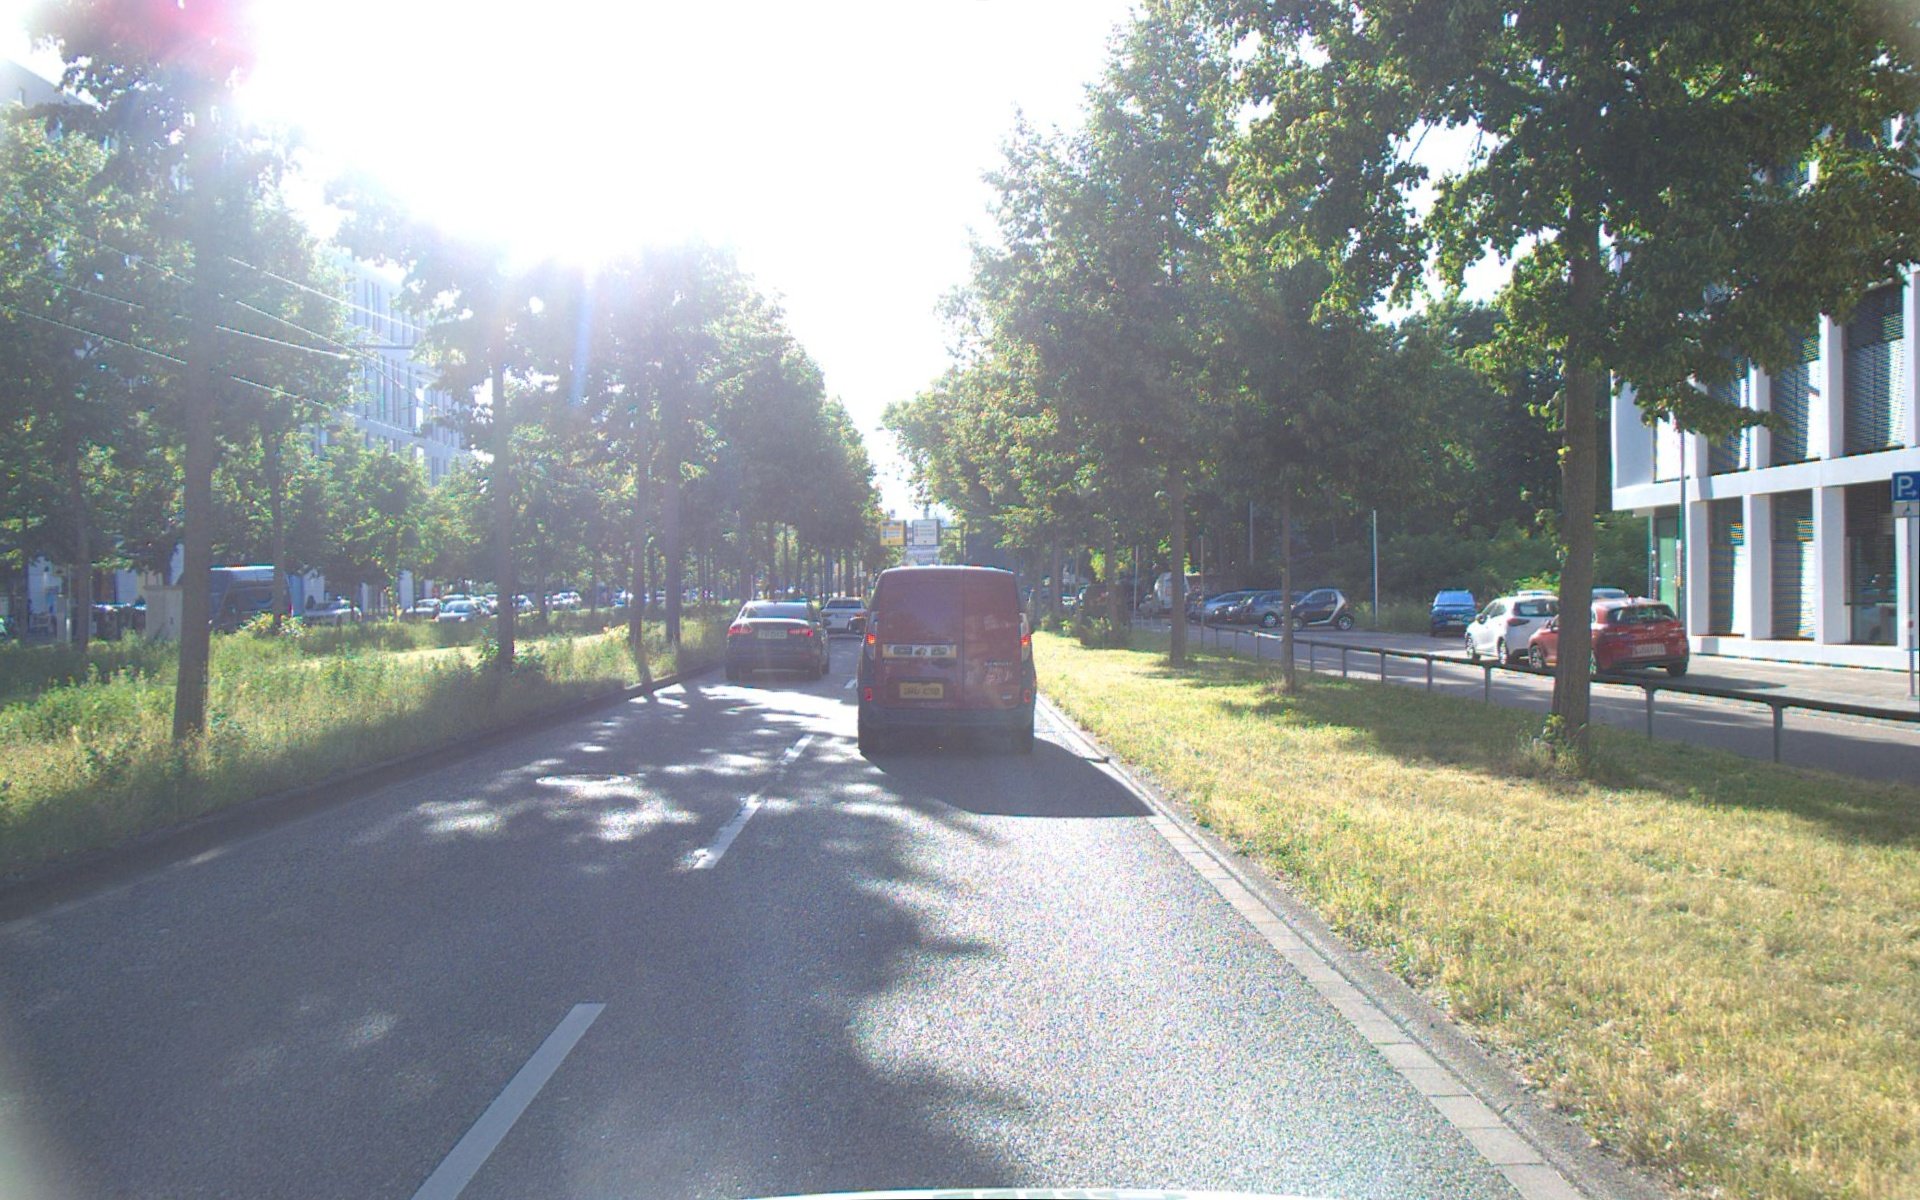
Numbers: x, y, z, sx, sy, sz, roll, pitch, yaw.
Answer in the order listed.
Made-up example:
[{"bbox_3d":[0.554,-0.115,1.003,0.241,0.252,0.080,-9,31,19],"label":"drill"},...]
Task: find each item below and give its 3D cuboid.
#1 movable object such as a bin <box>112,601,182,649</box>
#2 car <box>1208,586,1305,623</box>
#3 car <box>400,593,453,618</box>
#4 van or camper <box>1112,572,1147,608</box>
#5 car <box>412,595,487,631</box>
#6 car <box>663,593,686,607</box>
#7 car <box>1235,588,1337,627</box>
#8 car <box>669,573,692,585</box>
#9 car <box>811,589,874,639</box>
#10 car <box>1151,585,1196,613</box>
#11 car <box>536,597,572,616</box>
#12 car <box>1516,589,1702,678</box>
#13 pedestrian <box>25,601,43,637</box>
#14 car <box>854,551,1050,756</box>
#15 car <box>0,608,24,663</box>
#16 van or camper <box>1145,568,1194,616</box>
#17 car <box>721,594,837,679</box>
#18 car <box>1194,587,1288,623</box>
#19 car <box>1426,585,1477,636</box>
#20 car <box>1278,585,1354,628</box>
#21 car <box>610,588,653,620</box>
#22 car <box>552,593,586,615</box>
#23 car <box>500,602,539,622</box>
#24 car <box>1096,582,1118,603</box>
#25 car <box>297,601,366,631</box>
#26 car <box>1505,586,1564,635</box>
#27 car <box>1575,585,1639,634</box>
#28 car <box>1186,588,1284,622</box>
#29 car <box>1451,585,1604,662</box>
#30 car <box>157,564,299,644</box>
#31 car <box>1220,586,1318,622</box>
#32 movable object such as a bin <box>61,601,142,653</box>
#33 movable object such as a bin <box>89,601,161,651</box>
[{"bbox_3d":[-31.773,0.983,64.661,1.931,1.826,1.555,1,0,-3],"label":"movable object such as a bin"},{"bbox_3d":[14.315,0.213,79.947,4.244,1.503,1.905,-3,1,-5],"label":"car"},{"bbox_3d":[-33.012,0.343,102.539,1.954,1.466,4.776,1,0,-3],"label":"car"},{"bbox_3d":[14.044,-0.852,137.148,2.503,2.731,6.568,-3,1,4],"label":"van or camper"},{"bbox_3d":[-21.513,0.540,69.854,1.954,1.466,4.453,1,0,-3],"label":"car"},{"bbox_3d":[-35.165,0.041,203.945,1.953,1.636,4.610,1,0,0],"label":"car"},{"bbox_3d":[13.983,0.312,71.148,3.996,1.493,1.715,-2,0,0],"label":"car"},{"bbox_3d":[-32.426,-2.437,191.836,1.873,1.348,4.610,1,0,0],"label":"car"},{"bbox_3d":[-4.034,0.462,57.349,1.953,1.646,3.999,1,0,-1],"label":"car"},{"bbox_3d":[12.423,-0.051,96.431,1.953,1.601,3.999,1,0,-2],"label":"car"},{"bbox_3d":[-33.524,0.531,136.658,1.918,1.466,4.264,1,0,-1],"label":"car"},{"bbox_3d":[12.525,0.608,32.225,1.827,1.512,4.271,-3,0,-1],"label":"car"},{"bbox_3d":[-41.068,0.838,73.361,0.493,1.576,0.519,1,-1,41],"label":"pedestrian"},{"bbox_3d":[-0.195,0.500,17.268,1.773,1.870,3.997,1,0,-4],"label":"car"},{"bbox_3d":[-32.004,1.154,52.782,1.954,1.759,4.335,1,0,-4],"label":"car"},{"bbox_3d":[12.890,-0.490,102.145,1.954,2.778,4.960,-3,0,-4],"label":"van or camper"},{"bbox_3d":[-3.293,0.637,30.744,1.755,1.453,3.999,1,0,-1],"label":"car"},{"bbox_3d":[14.015,0.230,82.673,4.291,1.435,2.000,-5,0,1],"label":"car"},{"bbox_3d":[16.873,0.321,56.683,1.560,1.572,3.822,-1,1,18],"label":"car"},{"bbox_3d":[13.659,0.259,63.511,2.707,1.577,1.463,-2,-1,8],"label":"car"},{"bbox_3d":[-22.270,0.277,112.235,1.952,2.049,4.001,1,0,2],"label":"car"},{"bbox_3d":[-33.802,0.362,143.061,1.954,1.803,4.773,1,0,-3],"label":"car"},{"bbox_3d":[-33.478,0.868,125.801,1.954,1.466,4.453,1,0,-4],"label":"car"},{"bbox_3d":[14.136,-0.712,159.261,2.043,2.049,4.945,0,0,4],"label":"car"},{"bbox_3d":[-32.717,0.805,86.186,1.954,1.466,4.922,1,0,-3],"label":"car"},{"bbox_3d":[19.467,0.362,56.158,1.710,1.563,3.883,1,0,17],"label":"car"},{"bbox_3d":[21.585,0.314,55.298,1.681,1.567,3.953,1,0,17],"label":"car"},{"bbox_3d":[14.197,0.265,85.560,4.624,1.430,2.000,-4,0,-1],"label":"car"},{"bbox_3d":[12.664,0.501,37.214,1.952,1.512,4.403,-3,0,1],"label":"car"},{"bbox_3d":[-23.727,0.130,53.901,2.457,2.423,6.020,1,0,-6],"label":"car"},{"bbox_3d":[14.277,0.193,76.562,4.108,1.524,1.781,-1,0,-4],"label":"car"},{"bbox_3d":[-31.537,0.976,60.808,1.931,1.826,2.009,1,0,-4],"label":"movable object such as a bin"},{"bbox_3d":[-31.703,0.979,62.860,1.931,1.826,1.555,1,0,-3],"label":"movable object such as a bin"}]
